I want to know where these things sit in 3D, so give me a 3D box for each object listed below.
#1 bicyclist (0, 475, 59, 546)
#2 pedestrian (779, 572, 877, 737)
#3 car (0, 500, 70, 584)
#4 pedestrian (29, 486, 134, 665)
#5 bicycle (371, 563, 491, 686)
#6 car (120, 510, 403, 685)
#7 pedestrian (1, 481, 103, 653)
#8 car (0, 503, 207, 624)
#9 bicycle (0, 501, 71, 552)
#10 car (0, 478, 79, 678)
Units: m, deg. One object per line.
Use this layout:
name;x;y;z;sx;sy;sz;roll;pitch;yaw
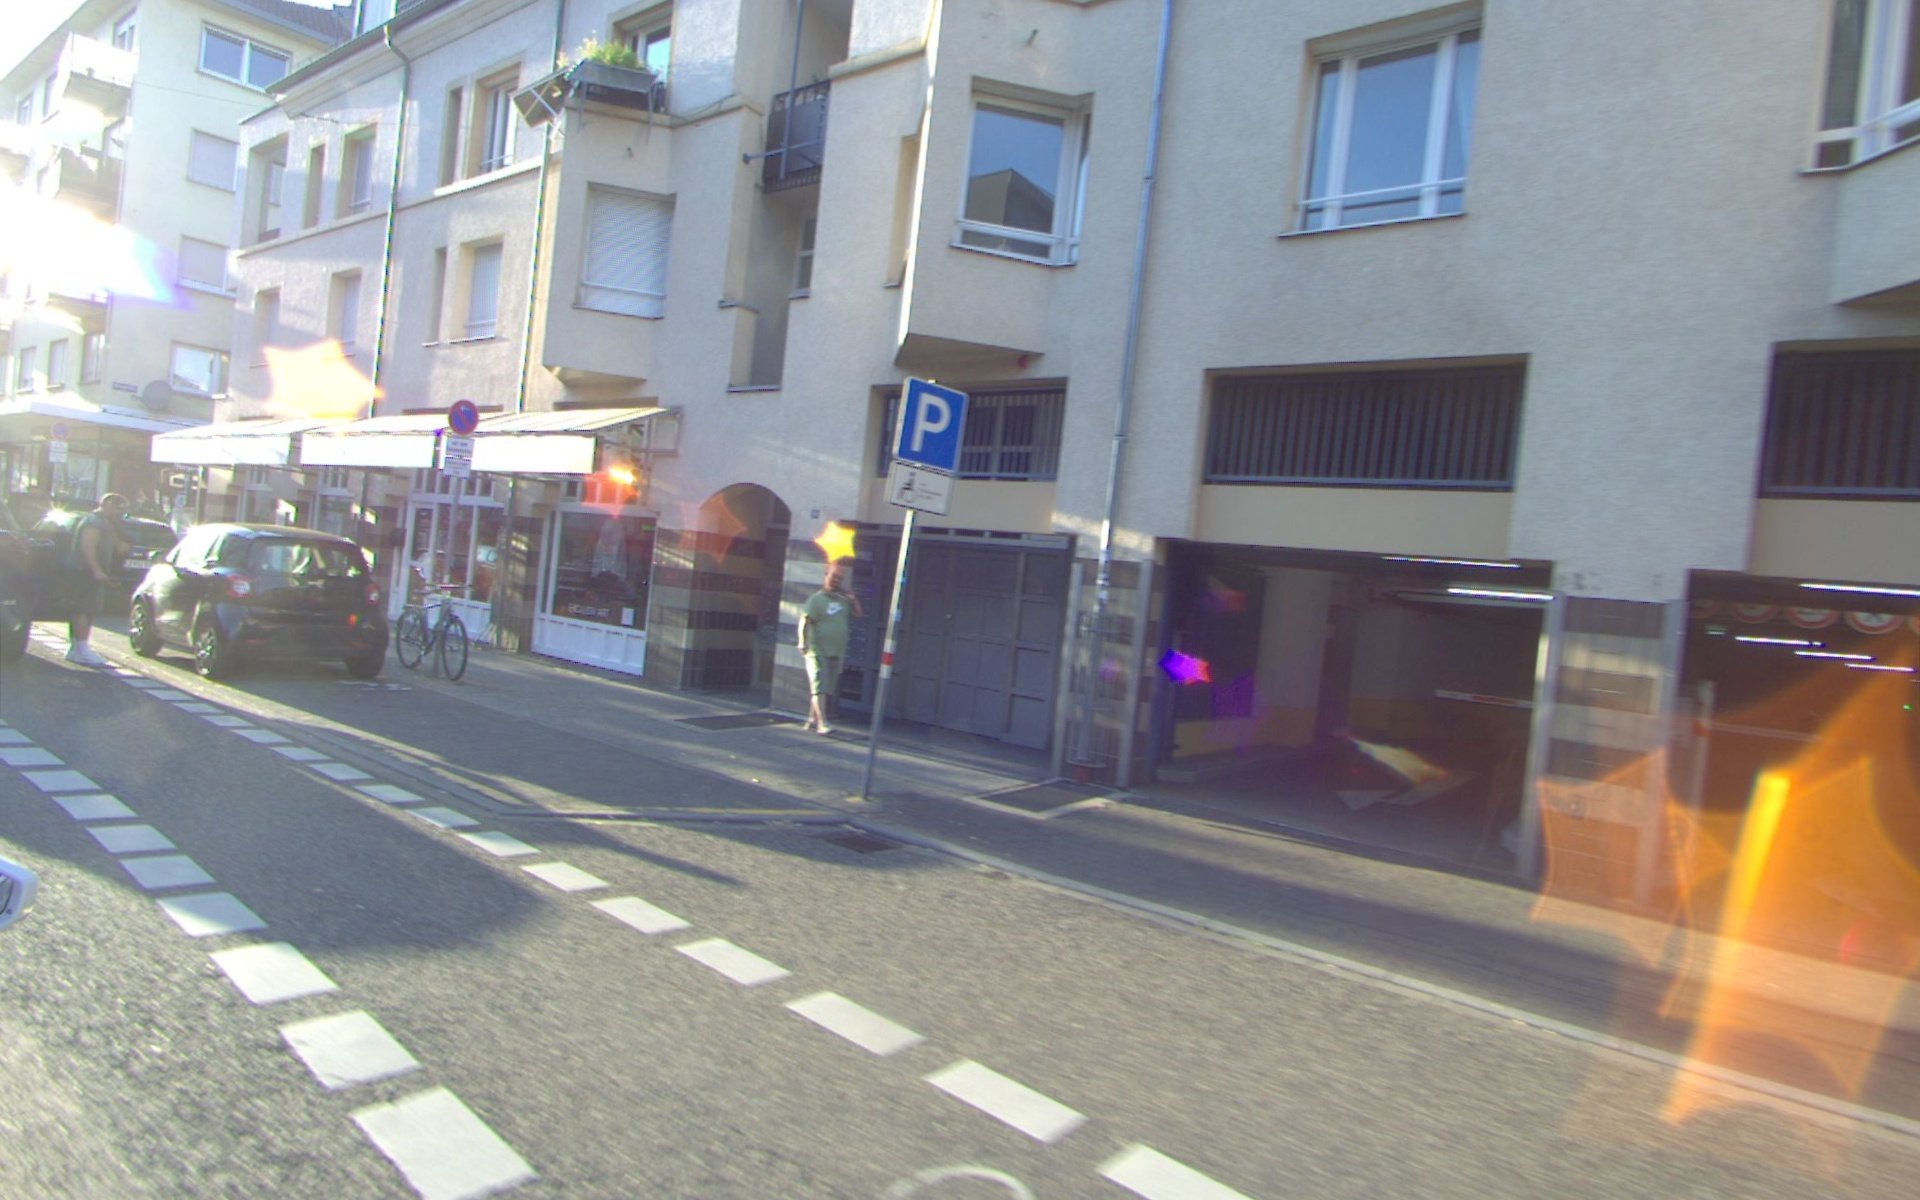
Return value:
bicyclist;-24.920;-2.370;26.807;1.078;1.724;0.650;6;1;-16
pedestrian;-1.406;0.570;10.687;0.802;1.669;0.602;2;3;-26
car;-18.958;-1.232;19.551;3.872;1.455;1.702;6;1;37
pedestrian;-8.699;-0.233;9.972;0.555;1.686;0.443;6;2;12
bicycle;-6.311;0.267;11.961;1.796;1.250;0.397;7;2;34
car;-7.695;-0.047;11.063;2.651;1.573;1.633;7;1;34
pedestrian;-9.299;-0.330;10.308;0.555;1.686;0.443;6;2;12
car;-13.021;-0.574;15.128;3.699;1.442;1.633;6;1;36
bicycle;-25.055;-1.985;26.789;1.902;1.169;0.650;6;1;-16
car;-10.323;-0.453;9.503;4.603;1.674;1.996;6;-2;37
